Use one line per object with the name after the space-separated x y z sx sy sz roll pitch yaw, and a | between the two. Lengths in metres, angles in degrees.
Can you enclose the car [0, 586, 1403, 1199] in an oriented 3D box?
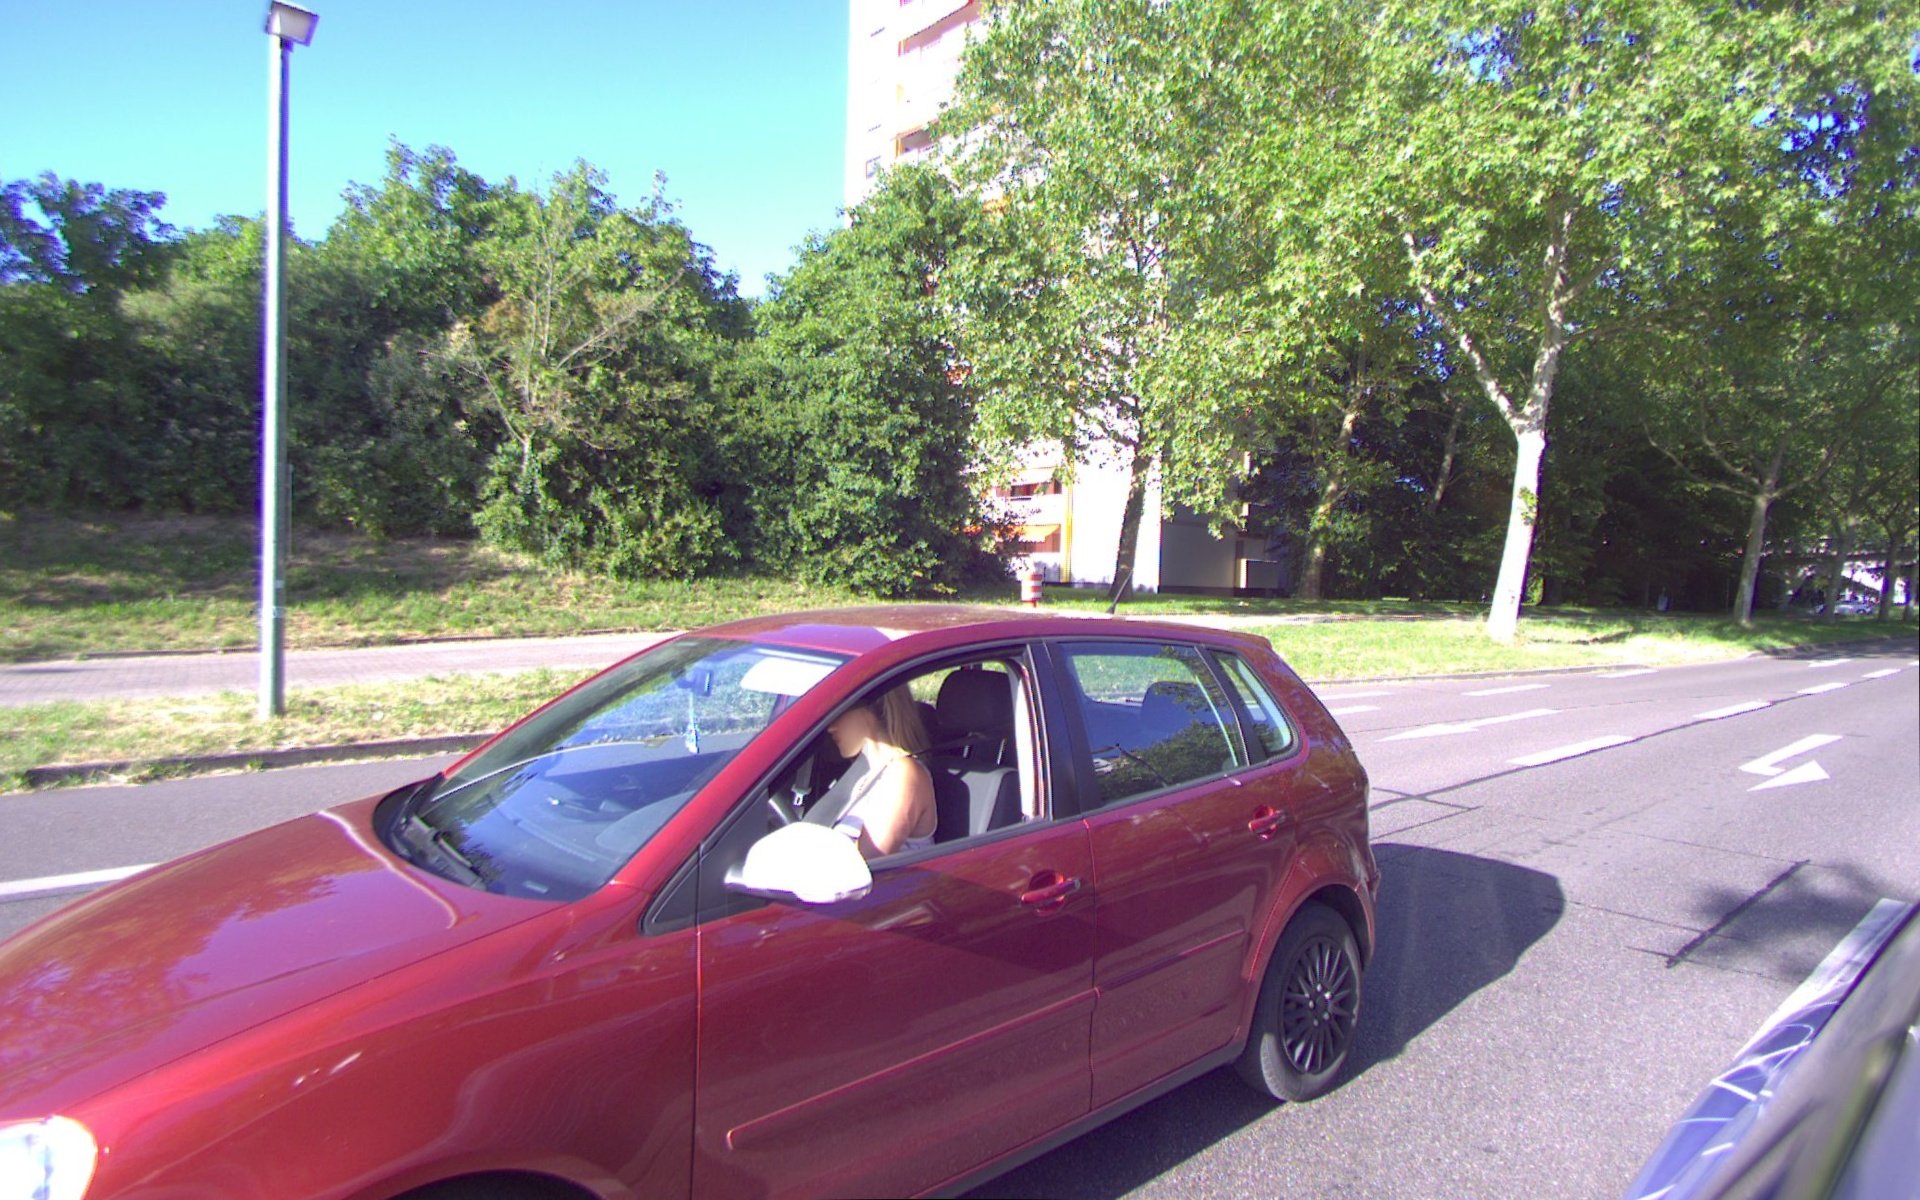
-0.447 0.710 2.723 3.624 1.479 1.579 -1 0 -40 | car
